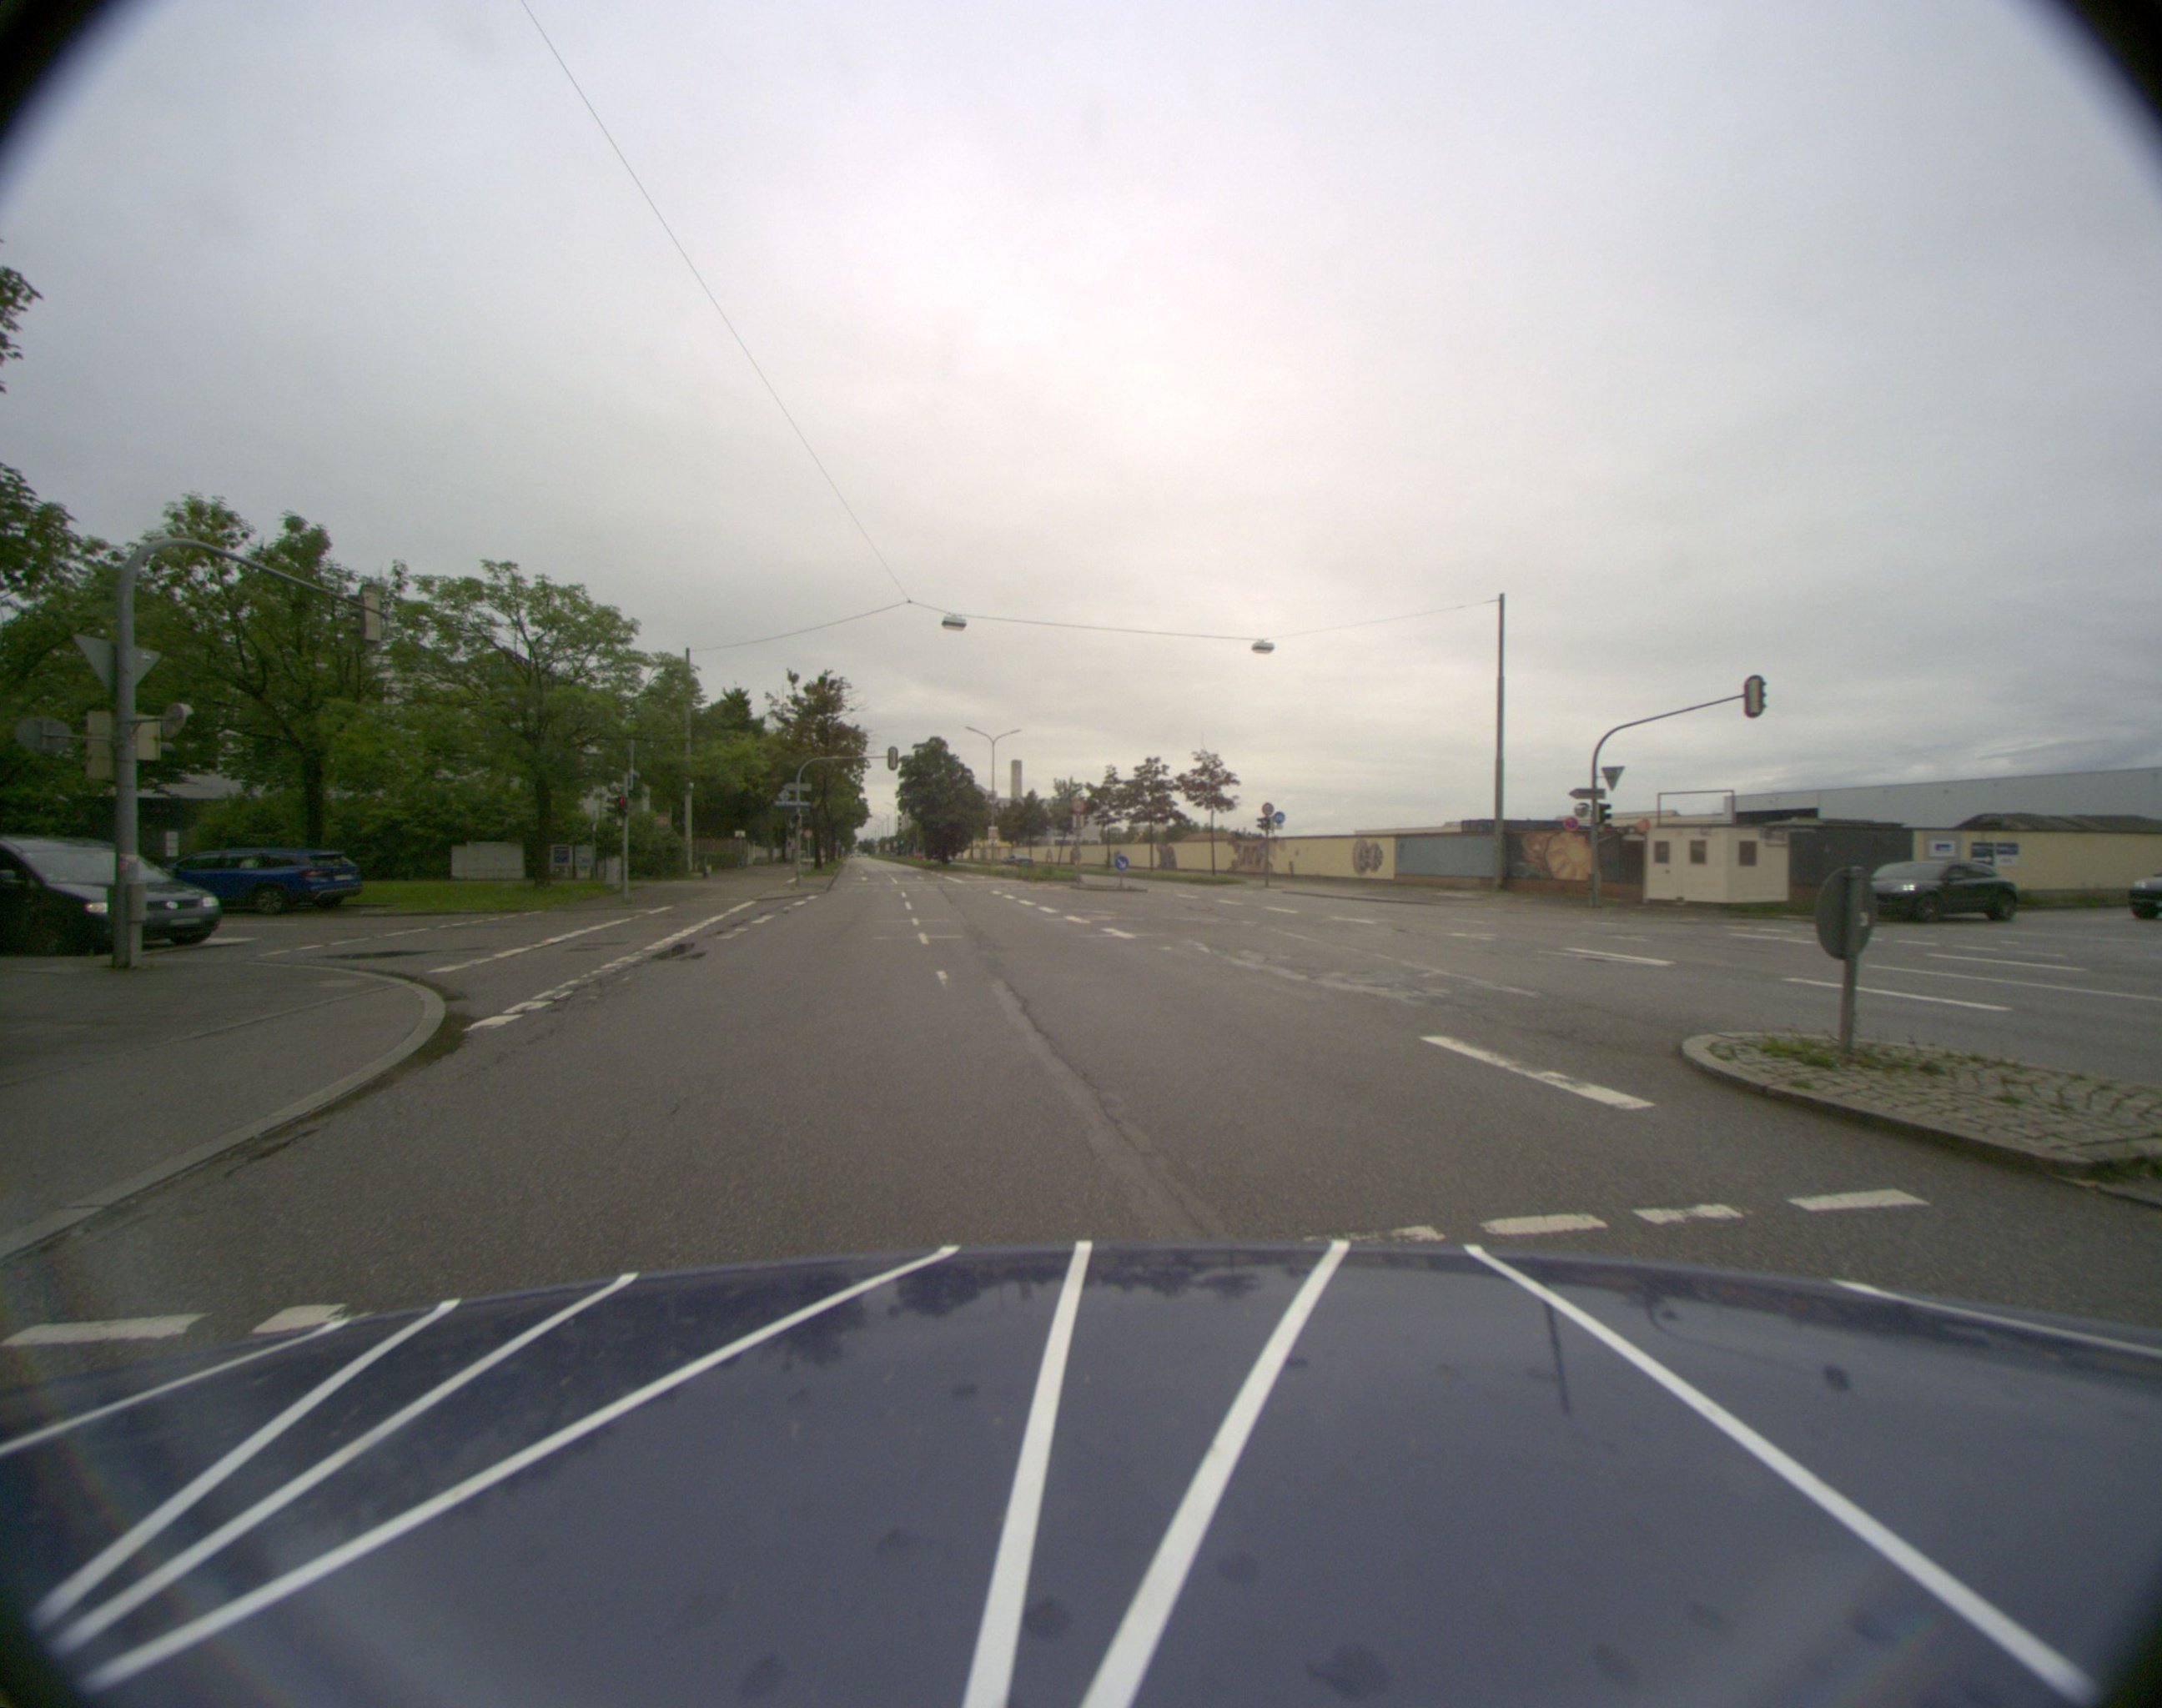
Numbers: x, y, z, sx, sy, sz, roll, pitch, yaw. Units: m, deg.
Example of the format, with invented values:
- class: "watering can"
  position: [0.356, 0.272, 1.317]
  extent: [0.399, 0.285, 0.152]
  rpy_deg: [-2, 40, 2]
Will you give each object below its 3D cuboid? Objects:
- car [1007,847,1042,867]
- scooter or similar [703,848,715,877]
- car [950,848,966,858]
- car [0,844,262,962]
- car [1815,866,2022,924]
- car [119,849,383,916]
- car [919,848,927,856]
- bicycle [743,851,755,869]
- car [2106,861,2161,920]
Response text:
- class: "car"
  position: [-4.644, 0.217, 61.633]
  extent: [1.919, 1.498, 4.432]
  rpy_deg: [1, 0, -16]
- class: "scooter or similar"
  position: [-18.691, 0.434, 38.165]
  extent: [0.372, 1.416, 1.402]
  rpy_deg: [1, 0, -32]
- class: "car"
  position: [-20.120, -0.182, 124.210]
  extent: [1.886, 1.459, 4.494]
  rpy_deg: [1, 0, -18]
- class: "car"
  position: [-16.498, 0.727, 12.233]
  extent: [4.785, 1.712, 2.001]
  rpy_deg: [0, 0, 6]
- class: "car"
  position: [22.767, 1.063, 20.719]
  extent: [4.266, 1.419, 1.997]
  rpy_deg: [0, 0, -14]
- class: "car"
  position: [-21.347, 0.688, 19.760]
  extent: [4.282, 1.566, 1.998]
  rpy_deg: [0, 3, -8]
- class: "car"
  position: [-36.402, -0.501, 175.172]
  extent: [1.490, 1.705, 3.545]
  rpy_deg: [1, 0, -18]
- class: "bicycle"
  position: [-24.700, 0.444, 56.570]
  extent: [0.584, 1.288, 2.450]
  rpy_deg: [1, 0, -19]
- class: "car"
  position: [30.785, 0.968, 20.544]
  extent: [4.635, 1.524, 1.997]
  rpy_deg: [0, 0, -14]
